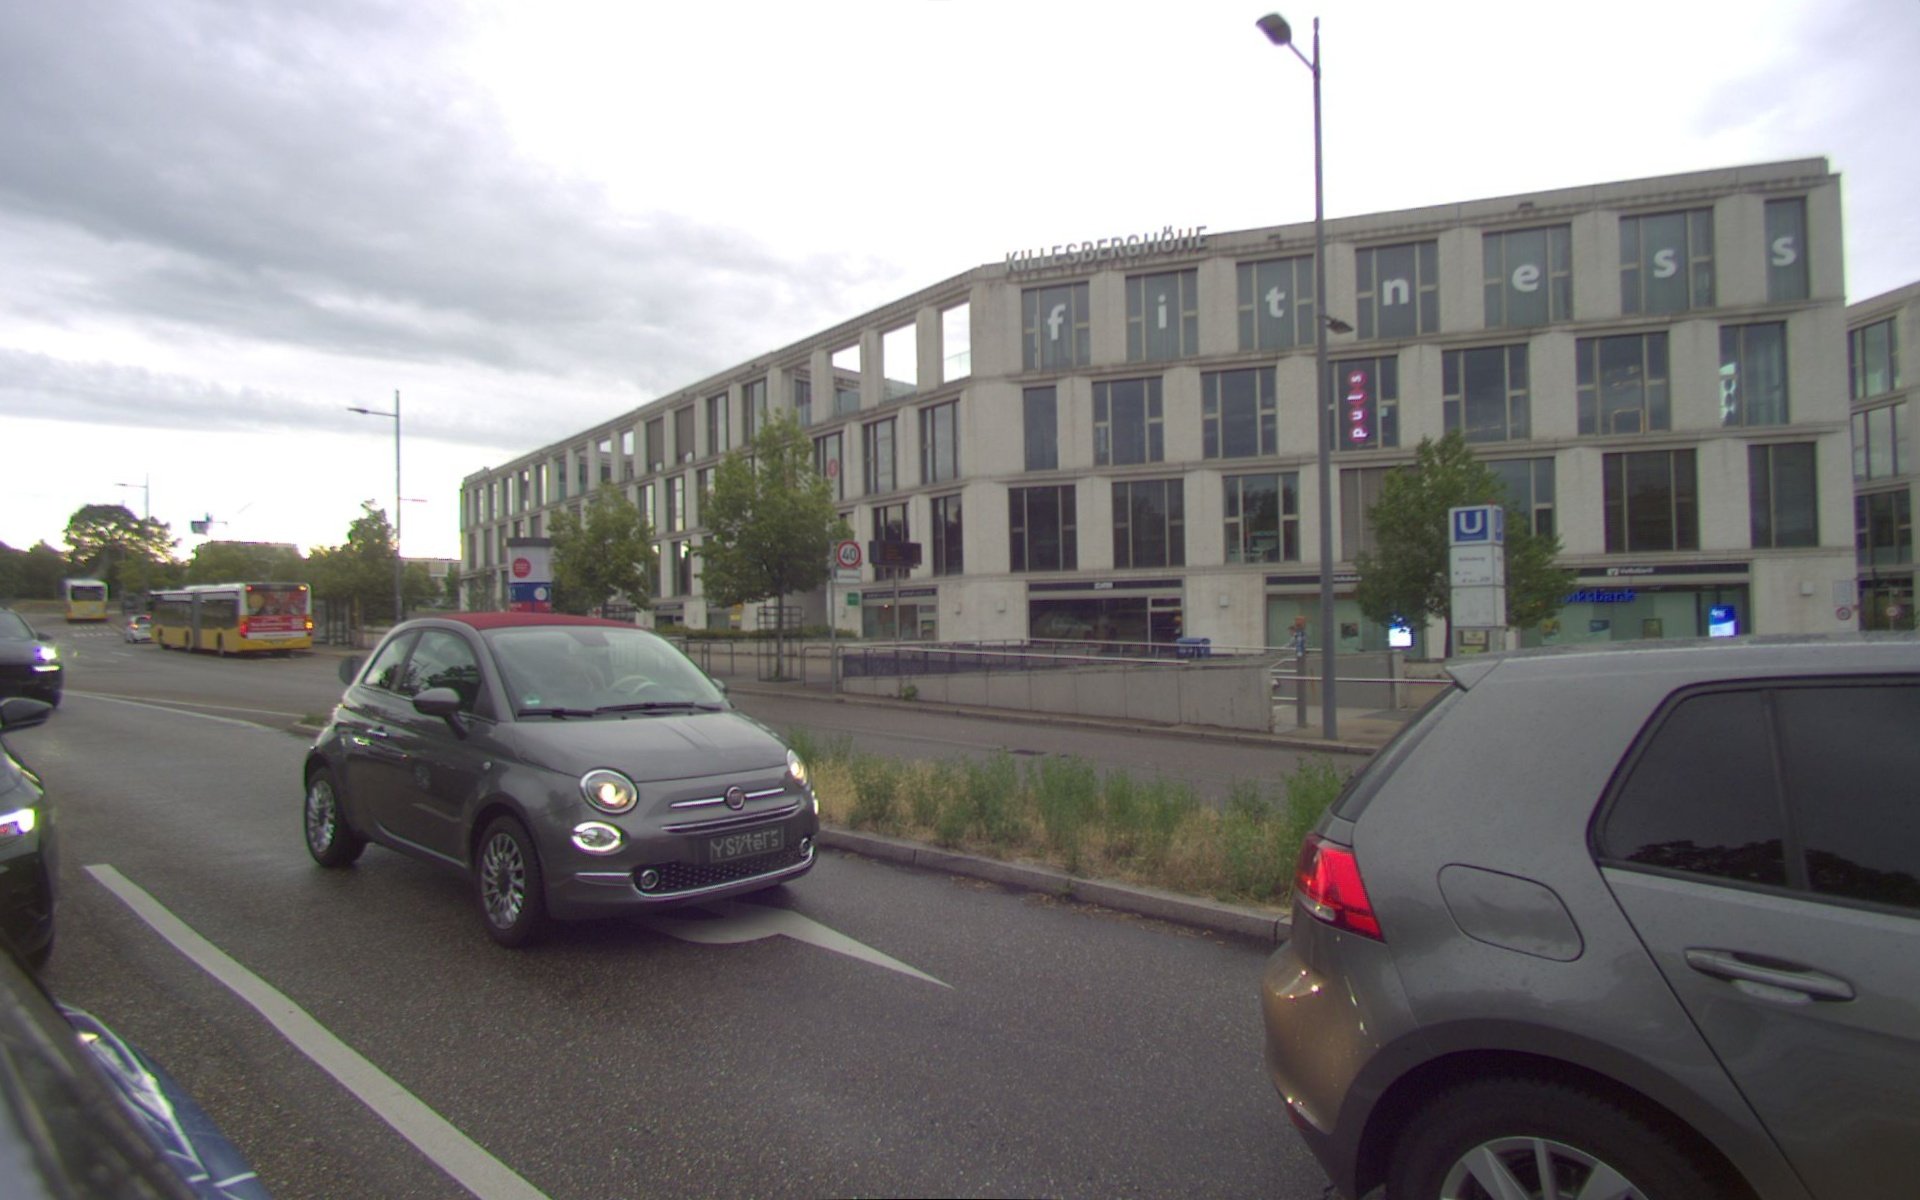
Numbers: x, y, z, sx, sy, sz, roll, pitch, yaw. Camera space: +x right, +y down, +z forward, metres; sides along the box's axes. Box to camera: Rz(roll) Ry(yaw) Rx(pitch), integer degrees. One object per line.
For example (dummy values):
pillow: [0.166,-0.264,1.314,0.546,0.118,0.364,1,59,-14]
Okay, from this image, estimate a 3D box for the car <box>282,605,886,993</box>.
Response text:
car: [-2.235,0.802,5.654,3.502,1.492,1.611,-1,-1,39]

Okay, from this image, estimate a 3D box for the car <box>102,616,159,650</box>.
car: [-46.742,1.838,57.009,3.998,1.800,1.843,-1,0,41]

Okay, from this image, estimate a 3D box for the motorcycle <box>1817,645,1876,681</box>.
motorcycle: [20.457,1.449,23.372,0.517,0.746,1.098,-1,0,9]

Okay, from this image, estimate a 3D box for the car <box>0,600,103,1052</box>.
car: [-5.375,0.770,4.370,4.766,1.476,1.877,-1,0,41]

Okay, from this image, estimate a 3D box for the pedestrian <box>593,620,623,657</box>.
pedestrian: [-15.405,1.673,44.260,0.968,1.593,0.868,-1,0,-41]

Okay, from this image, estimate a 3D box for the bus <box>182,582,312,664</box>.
bus: [-31.133,0.927,43.975,9.206,3.236,2.723,-1,0,43]

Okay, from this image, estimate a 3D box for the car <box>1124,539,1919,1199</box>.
car: [2.604,0.658,1.556,4.374,1.492,1.797,-1,-2,41]

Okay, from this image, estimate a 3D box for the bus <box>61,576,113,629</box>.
bus: [-76.252,0.276,88.629,2.717,4.185,19.383,-1,0,-39]

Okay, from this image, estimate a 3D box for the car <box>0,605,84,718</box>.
car: [-16.041,0.945,16.460,4.612,1.671,1.910,-1,-1,39]

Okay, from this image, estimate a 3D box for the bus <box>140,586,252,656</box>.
bus: [-38.160,0.997,50.382,9.911,3.205,2.658,-1,0,42]

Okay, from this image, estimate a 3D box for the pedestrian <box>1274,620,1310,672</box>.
pedestrian: [10.481,1.441,31.979,0.912,1.617,0.755,-1,-2,34]
